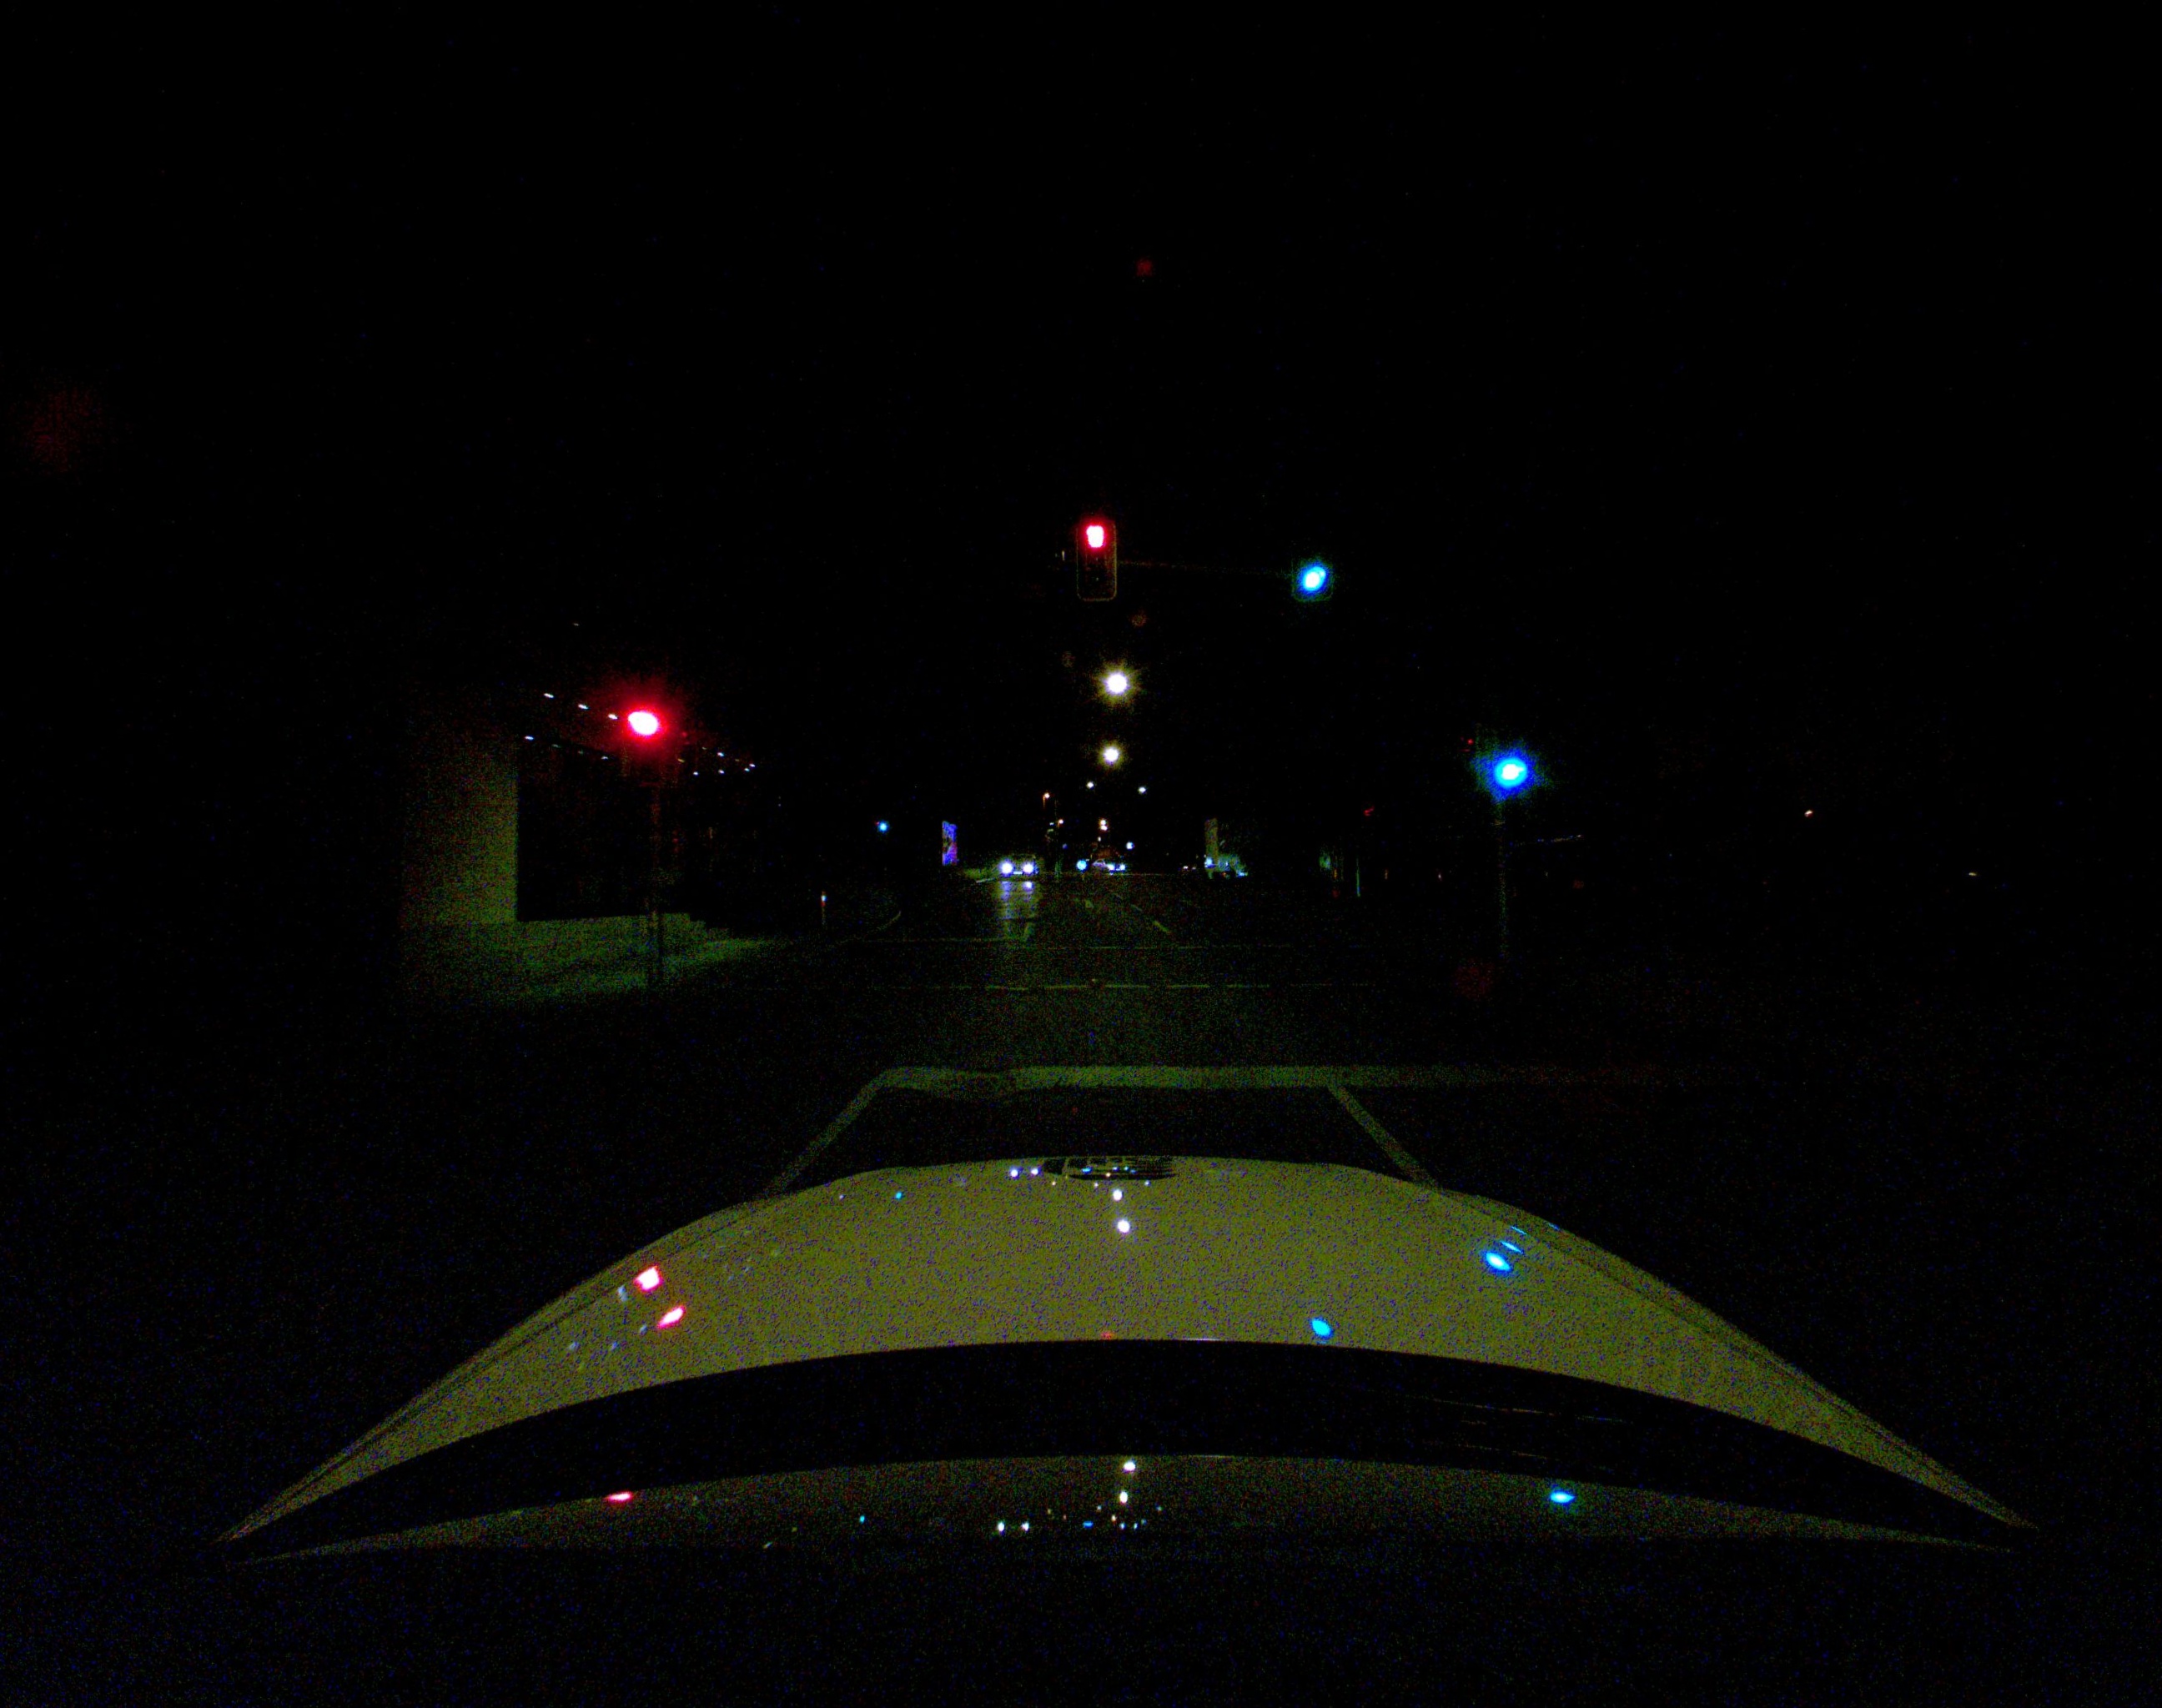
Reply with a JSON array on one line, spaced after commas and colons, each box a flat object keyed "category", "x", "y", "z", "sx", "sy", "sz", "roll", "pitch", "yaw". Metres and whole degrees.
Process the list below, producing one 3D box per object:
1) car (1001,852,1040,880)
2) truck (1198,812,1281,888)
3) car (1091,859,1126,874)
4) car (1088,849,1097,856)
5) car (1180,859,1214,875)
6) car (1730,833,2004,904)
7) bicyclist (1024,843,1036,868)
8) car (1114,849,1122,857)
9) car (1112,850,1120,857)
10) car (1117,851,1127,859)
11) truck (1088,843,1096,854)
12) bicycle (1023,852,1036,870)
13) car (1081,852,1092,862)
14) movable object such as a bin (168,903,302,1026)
[{"category": "car", "x": -3.467, "y": 0.660, "z": 47.555, "sx": 1.850, "sy": 1.534, "sz": 4.029, "roll": 0, "pitch": 0, "yaw": 1}, {"category": "truck", "x": 6.932, "y": -0.159, "z": 36.430, "sx": 2.738, "sy": 3.110, "sz": 6.262, "roll": 0, "pitch": 0, "yaw": 2}, {"category": "car", "x": 2.799, "y": 1.259, "z": 83.818, "sx": 1.924, "sy": 1.388, "sz": 4.550, "roll": 0, "pitch": 0, "yaw": -21}, {"category": "car", "x": 2.264, "y": -0.294, "z": 162.695, "sx": 1.809, "sy": 1.491, "sz": 4.000, "roll": 0, "pitch": 0, "yaw": 0}, {"category": "car", "x": 11.436, "y": 1.300, "z": 80.176, "sx": 3.414, "sy": 1.501, "sz": 1.567, "roll": -1, "pitch": 0, "yaw": -42}, {"category": "car", "x": 17.394, "y": 0.321, "z": 18.221, "sx": 4.107, "sy": 1.280, "sz": 1.770, "roll": -3, "pitch": -1, "yaw": 8}, {"category": "bicyclist", "x": -3.470, "y": 0.108, "z": 55.406, "sx": 0.688, "sy": 1.637, "sz": 0.896, "roll": -1, "pitch": -1, "yaw": 1}, {"category": "car", "x": 7.280, "y": -0.220, "z": 161.284, "sx": 1.628, "sy": 1.451, "sz": 3.486, "roll": 0, "pitch": 0, "yaw": 2}, {"category": "car", "x": 7.784, "y": -0.146, "z": 180.528, "sx": 1.628, "sy": 1.451, "sz": 3.486, "roll": 0, "pitch": 0, "yaw": 2}, {"category": "car", "x": 7.341, "y": 0.158, "z": 145.351, "sx": 1.628, "sy": 1.451, "sz": 3.486, "roll": 0, "pitch": 0, "yaw": 2}, {"category": "truck", "x": 2.903, "y": -1.507, "z": 211.747, "sx": 2.080, "sy": 2.848, "sz": 5.831, "roll": 0, "pitch": 0, "yaw": 0}, {"category": "bicycle", "x": -3.471, "y": 0.467, "z": 55.385, "sx": 0.693, "sy": 1.149, "sz": 1.951, "roll": -1, "pitch": 0, "yaw": 2}, {"category": "car", "x": 0.967, "y": 0.522, "z": 136.617, "sx": 1.808, "sy": 1.684, "sz": 4.002, "roll": 0, "pitch": 0, "yaw": 2}, {"category": "movable object such as a bin", "x": -7.896, "y": 1.005, "z": 7.620, "sx": 0.633, "sy": 1.049, "sz": 0.657, "roll": -1, "pitch": -1, "yaw": 19}]
